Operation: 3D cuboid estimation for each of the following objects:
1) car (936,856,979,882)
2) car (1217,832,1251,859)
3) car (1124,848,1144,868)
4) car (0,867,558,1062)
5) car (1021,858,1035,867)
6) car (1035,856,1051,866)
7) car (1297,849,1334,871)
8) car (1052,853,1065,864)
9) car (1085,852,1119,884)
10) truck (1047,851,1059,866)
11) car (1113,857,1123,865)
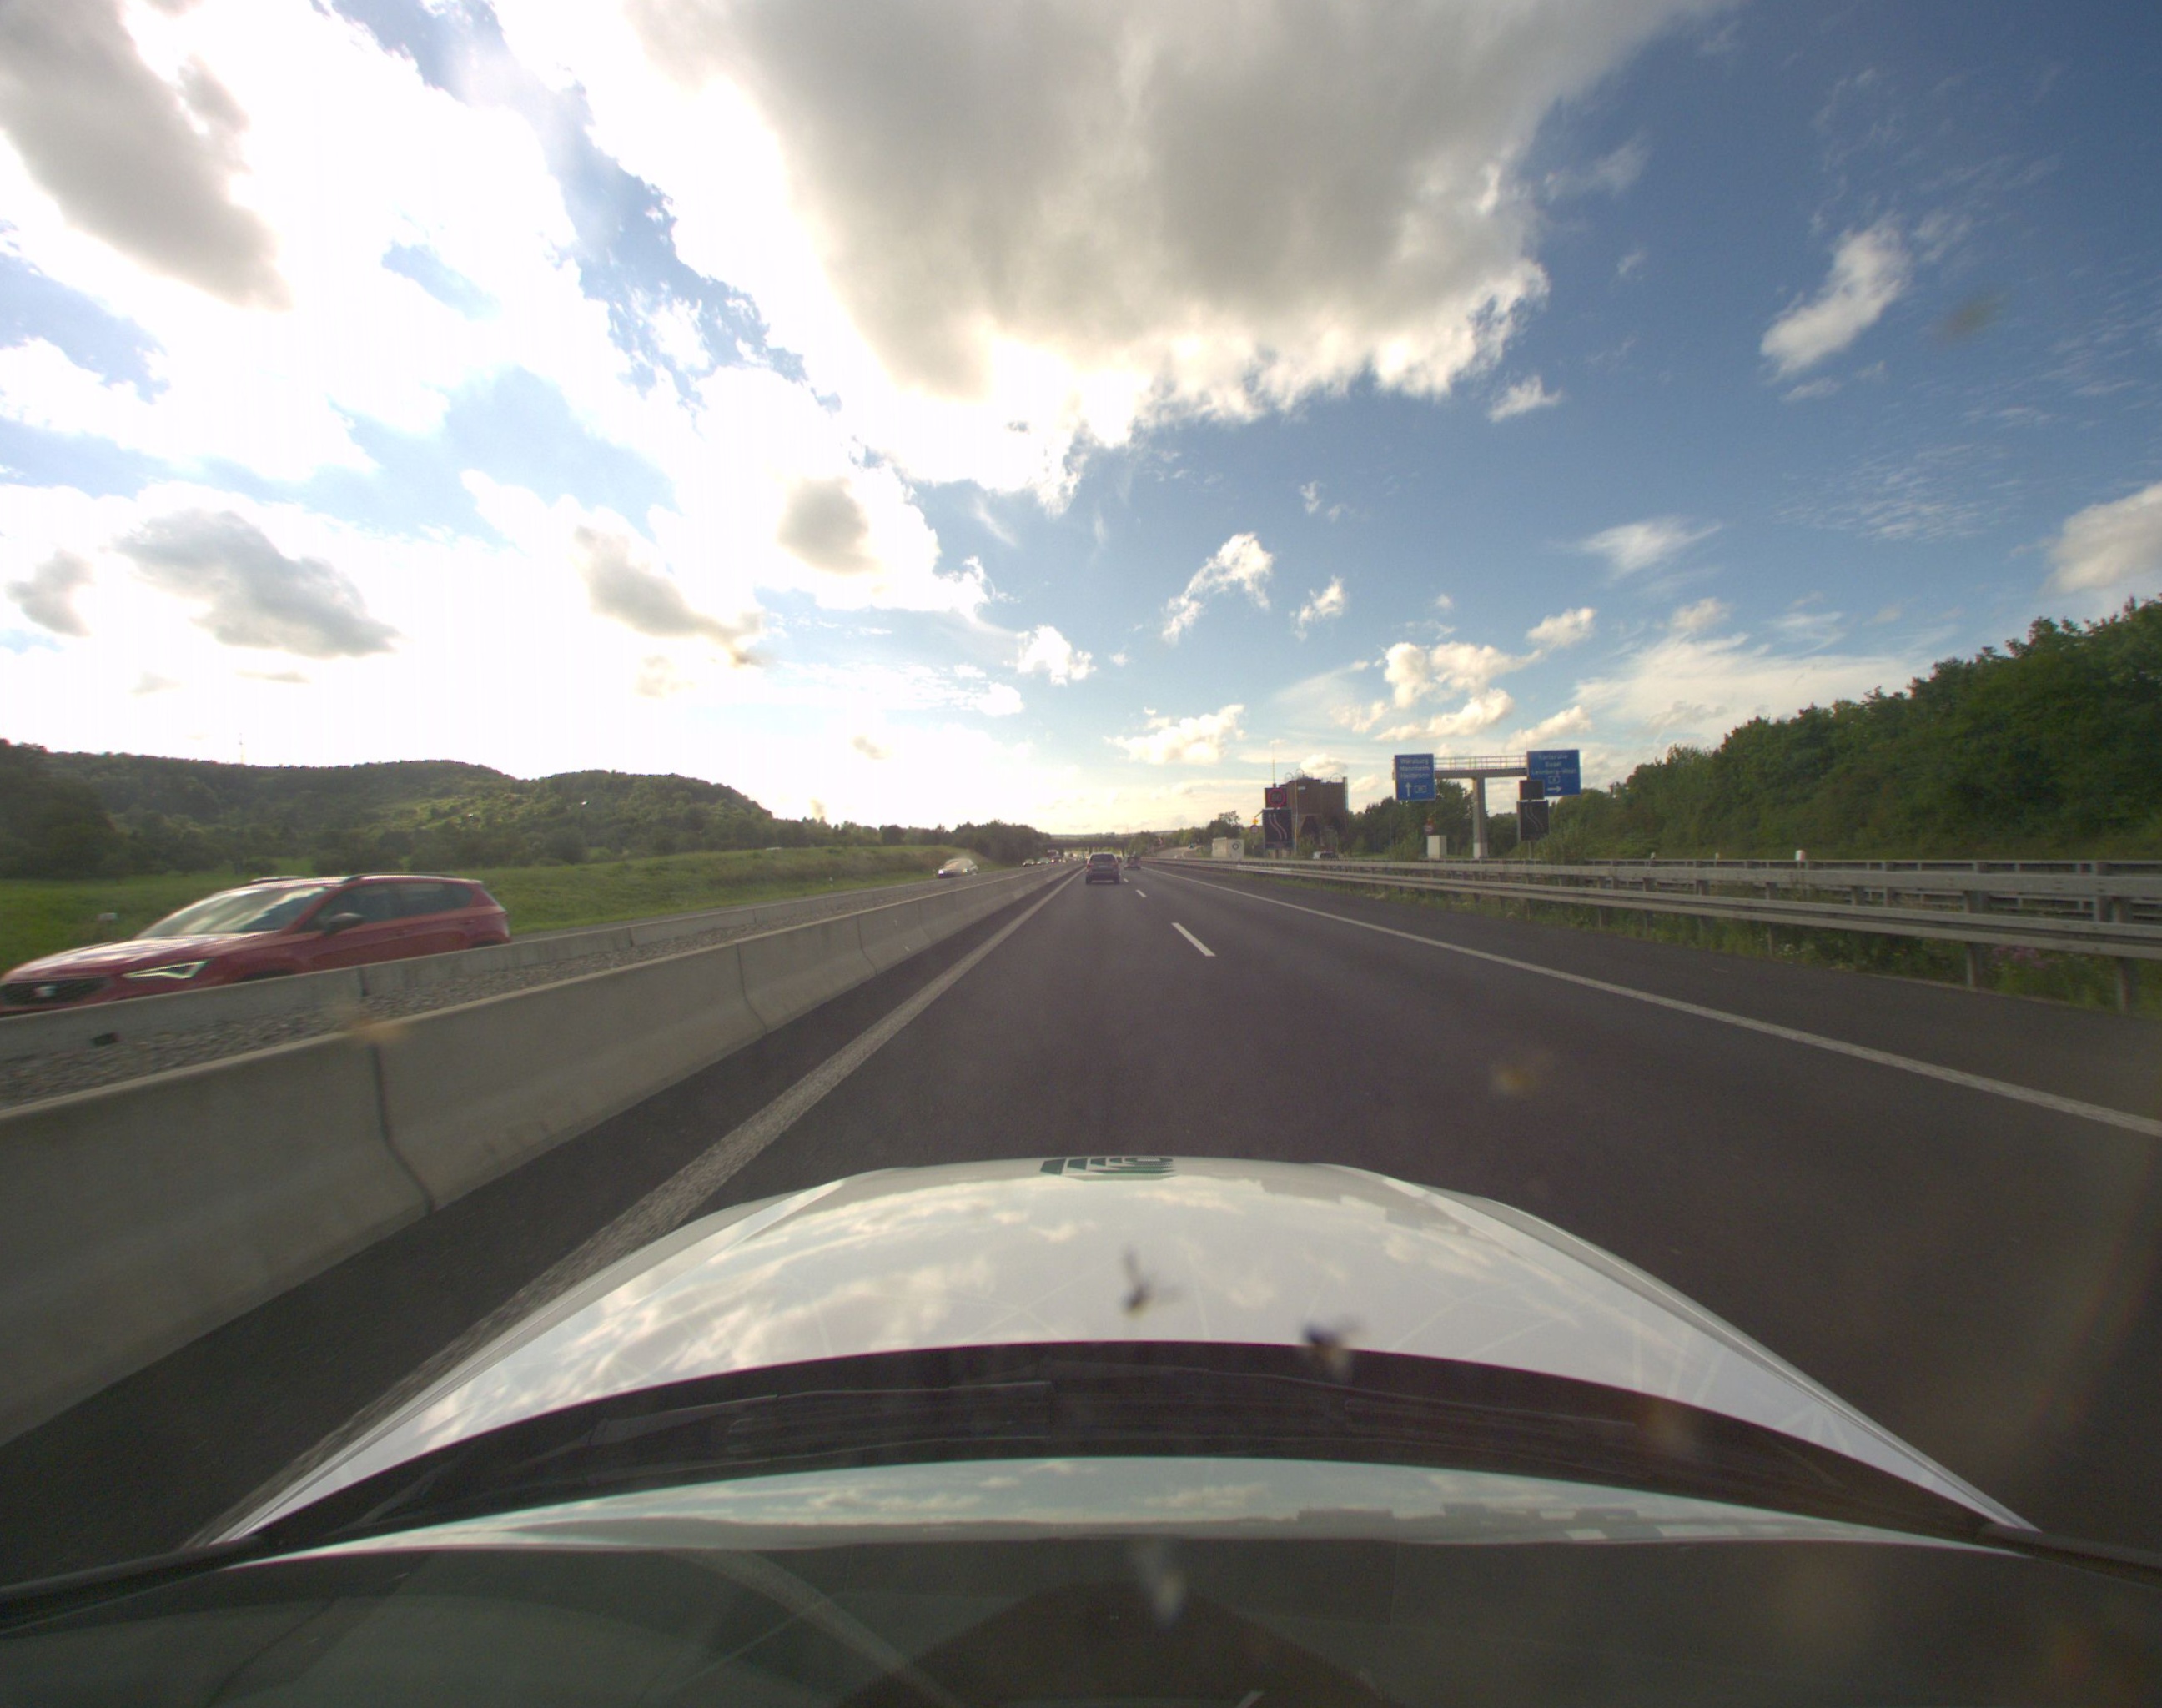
[{"bbox_3d":[-7.561,0.887,50.113,1.781,1.398,4.624,-3,0,1],"label":"car"},{"bbox_3d":[22.451,-1.221,119.980,3.563,3.676,7.551,-3,0,1],"label":"car"},{"bbox_3d":[5.934,0.462,92.030,1.986,2.081,4.001,-3,0,1],"label":"car"},{"bbox_3d":[-8.121,0.915,8.721,1.781,1.398,4.800,-3,0,1],"label":"car"},{"bbox_3d":[-9.421,1.550,145.304,1.986,1.478,4.694,-3,0,2],"label":"car"},{"bbox_3d":[-6.166,1.150,132.813,1.986,1.573,5.368,-3,0,2],"label":"car"},{"bbox_3d":[19.738,0.532,68.615,1.986,1.717,4.001,-3,0,1],"label":"car"},{"bbox_3d":[-4.413,0.943,159.167,1.986,2.013,5.844,-3,0,2],"label":"car"},{"bbox_3d":[1.213,0.742,45.318,1.743,1.630,3.611,-3,0,3],"label":"car"},{"bbox_3d":[-7.574,1.293,222.412,2.727,3.924,6.905,-3,0,2],"label":"truck"},{"bbox_3d":[8.565,1.667,188.186,1.968,1.779,4.121,-3,0,1],"label":"car"}]
